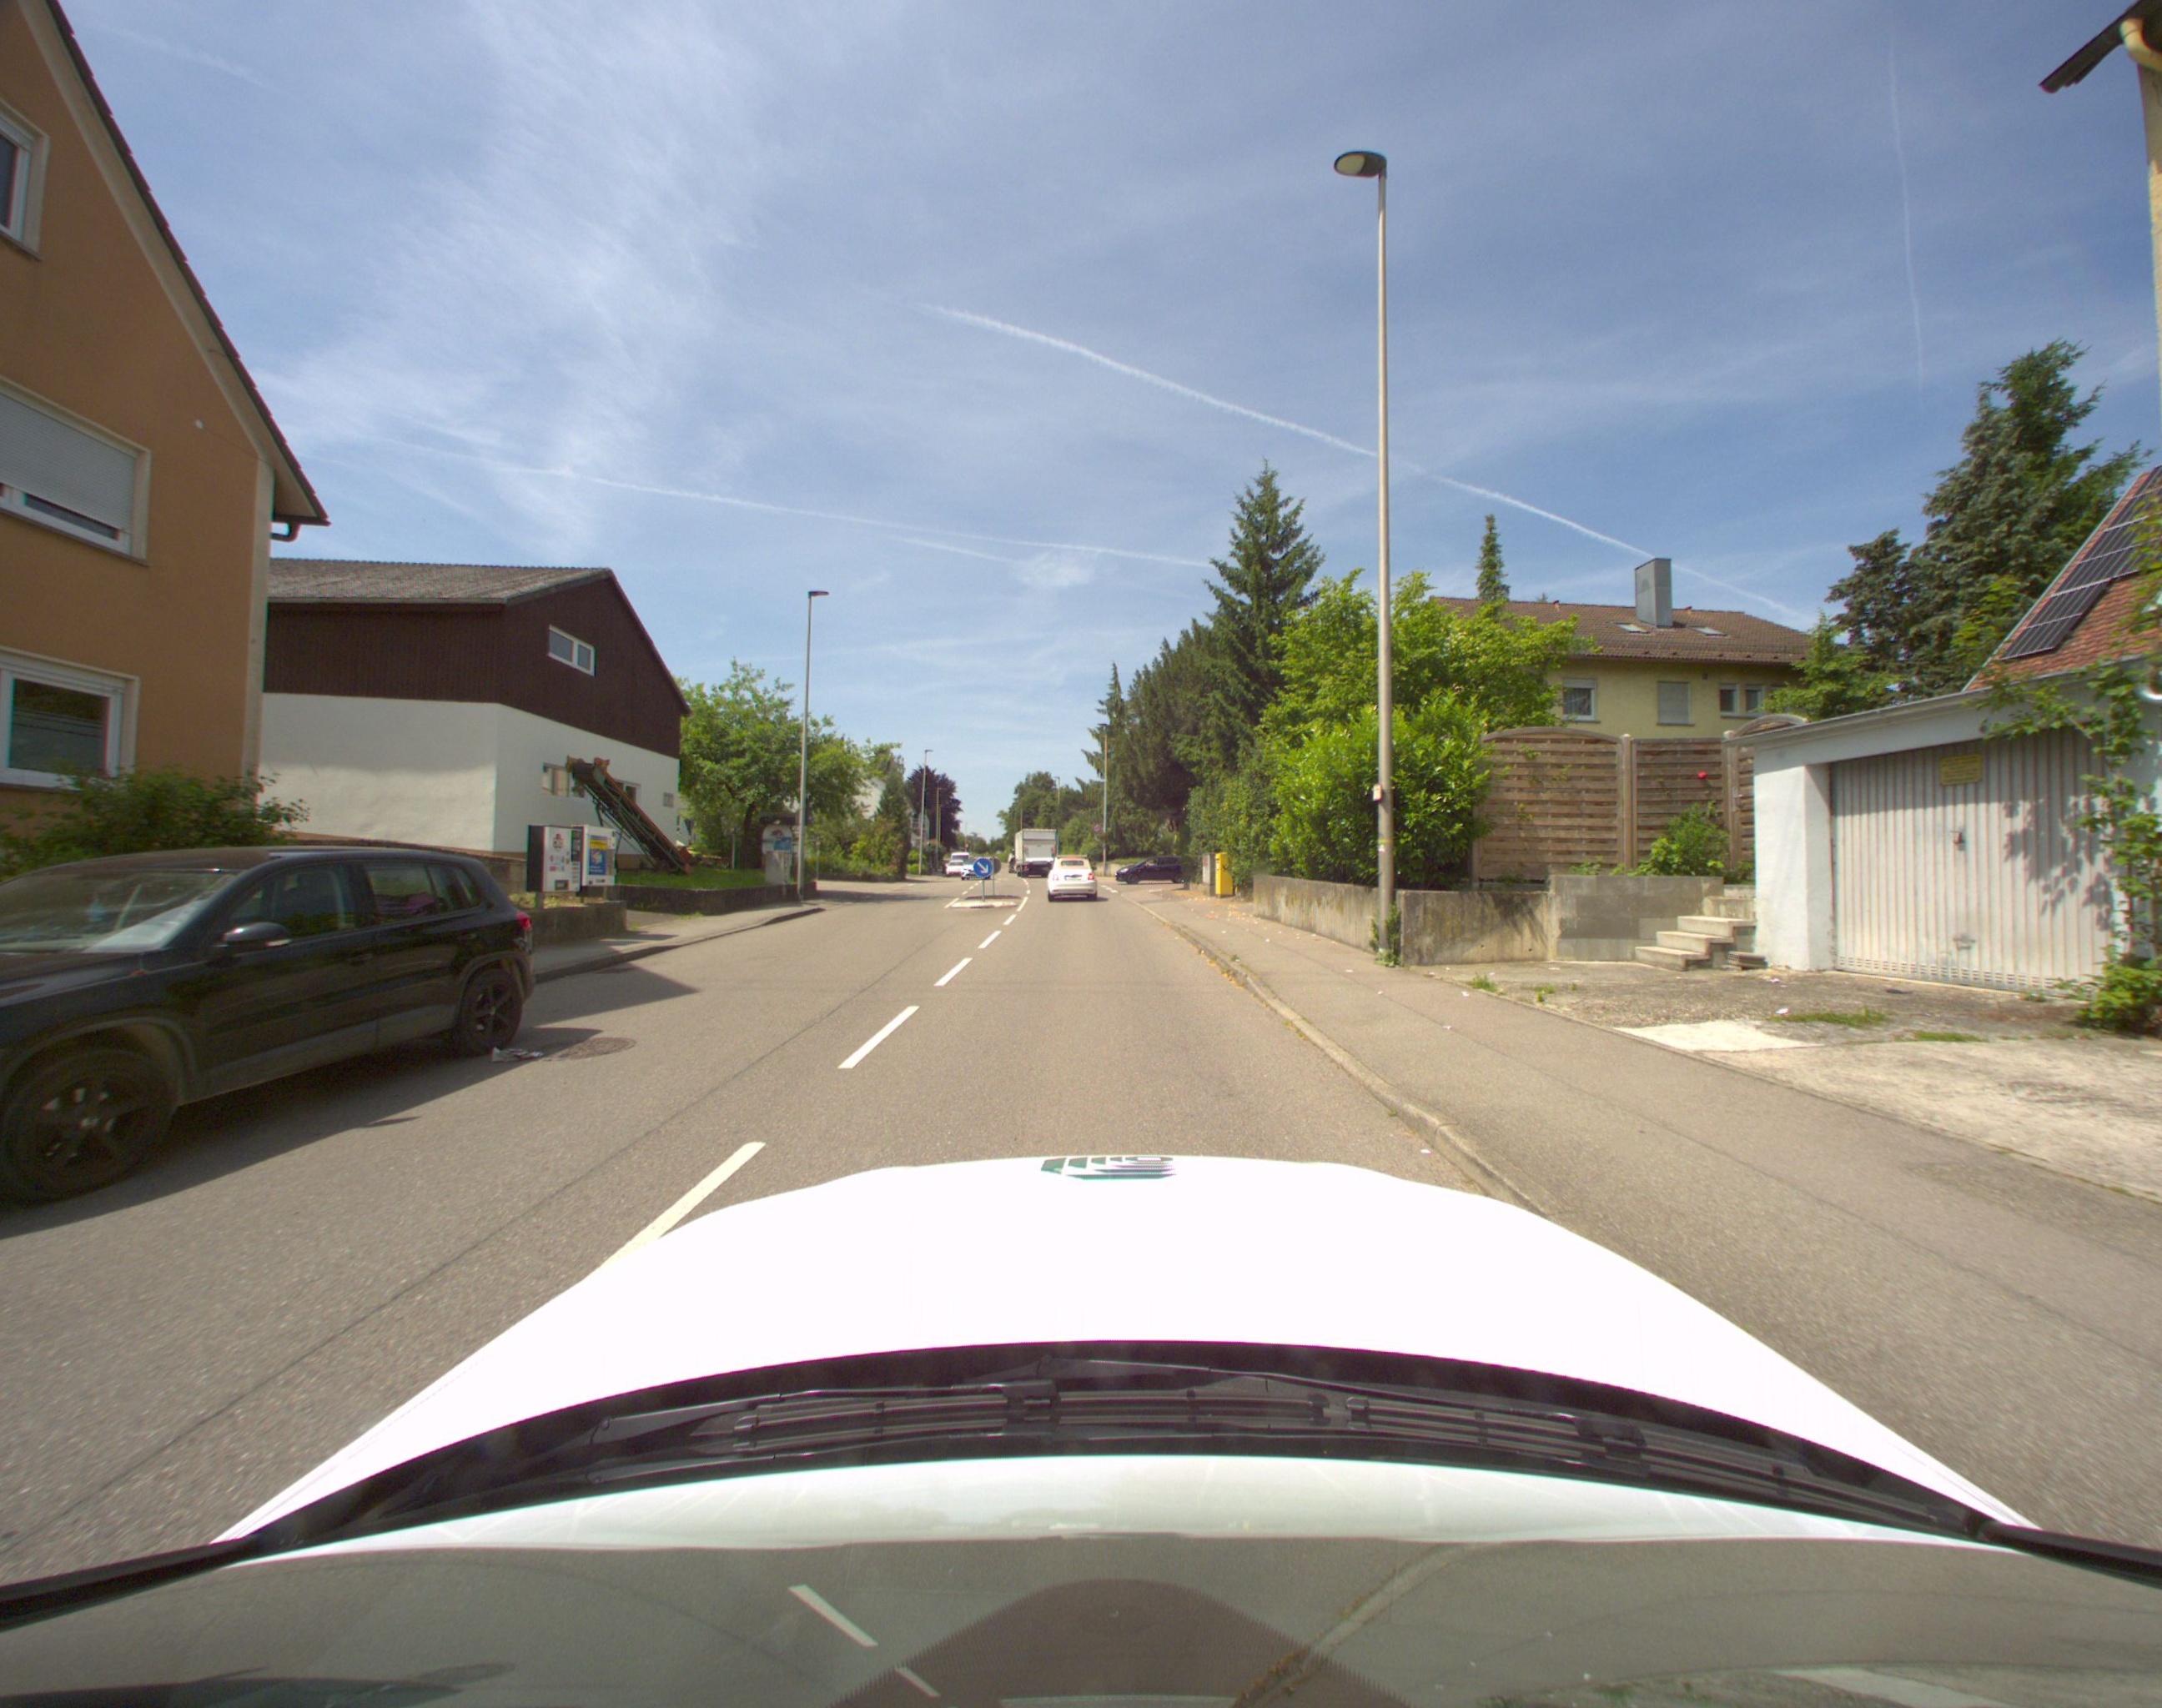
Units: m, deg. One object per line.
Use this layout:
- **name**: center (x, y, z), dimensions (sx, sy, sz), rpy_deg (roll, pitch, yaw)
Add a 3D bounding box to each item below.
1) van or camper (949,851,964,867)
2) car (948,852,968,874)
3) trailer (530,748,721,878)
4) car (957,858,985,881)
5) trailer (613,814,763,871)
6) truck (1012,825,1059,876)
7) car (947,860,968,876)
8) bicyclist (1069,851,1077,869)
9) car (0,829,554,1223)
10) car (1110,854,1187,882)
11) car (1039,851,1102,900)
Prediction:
- **van or camper**: center (-23.925, 0.902, 156.763), dimensions (2.261, 2.962, 5.877), rpy_deg (1, 0, -5)
- **car**: center (-12.702, 0.891, 83.932), dimensions (2.037, 2.200, 5.565), rpy_deg (0, -1, -9)
- **trailer**: center (-11.465, -0.900, 21.171), dimensions (1.708, 2.848, 6.168), rpy_deg (1, 0, -3)
- **car**: center (-7.818, 1.087, 58.167), dimensions (1.780, 1.529, 4.163), rpy_deg (-1, -1, -5)
- **trailer**: center (-13.202, -0.359, 27.438), dimensions (3.662, 1.691, 2.780), rpy_deg (2, -1, 25)
- **truck**: center (-3.721, -0.199, 64.572), dimensions (3.067, 3.774, 7.844), rpy_deg (0, -1, -8)
- **car**: center (-10.736, 1.186, 70.665), dimensions (1.804, 1.398, 3.987), rpy_deg (0, -1, -9)
- **bicyclist**: center (-0.637, 0.445, 64.017), dimensions (0.587, 1.412, 0.740), rpy_deg (1, -1, -7)
- **car**: center (-5.426, 0.728, 4.913), dimensions (1.764, 1.636, 4.284), rpy_deg (-1, 0, -2)
- **car**: center (3.562, 0.744, 43.365), dimensions (3.925, 1.458, 1.656), rpy_deg (0, -1, -4)
- **car**: center (-0.439, 0.700, 28.099), dimensions (1.723, 1.560, 3.989), rpy_deg (-1, 0, -7)
